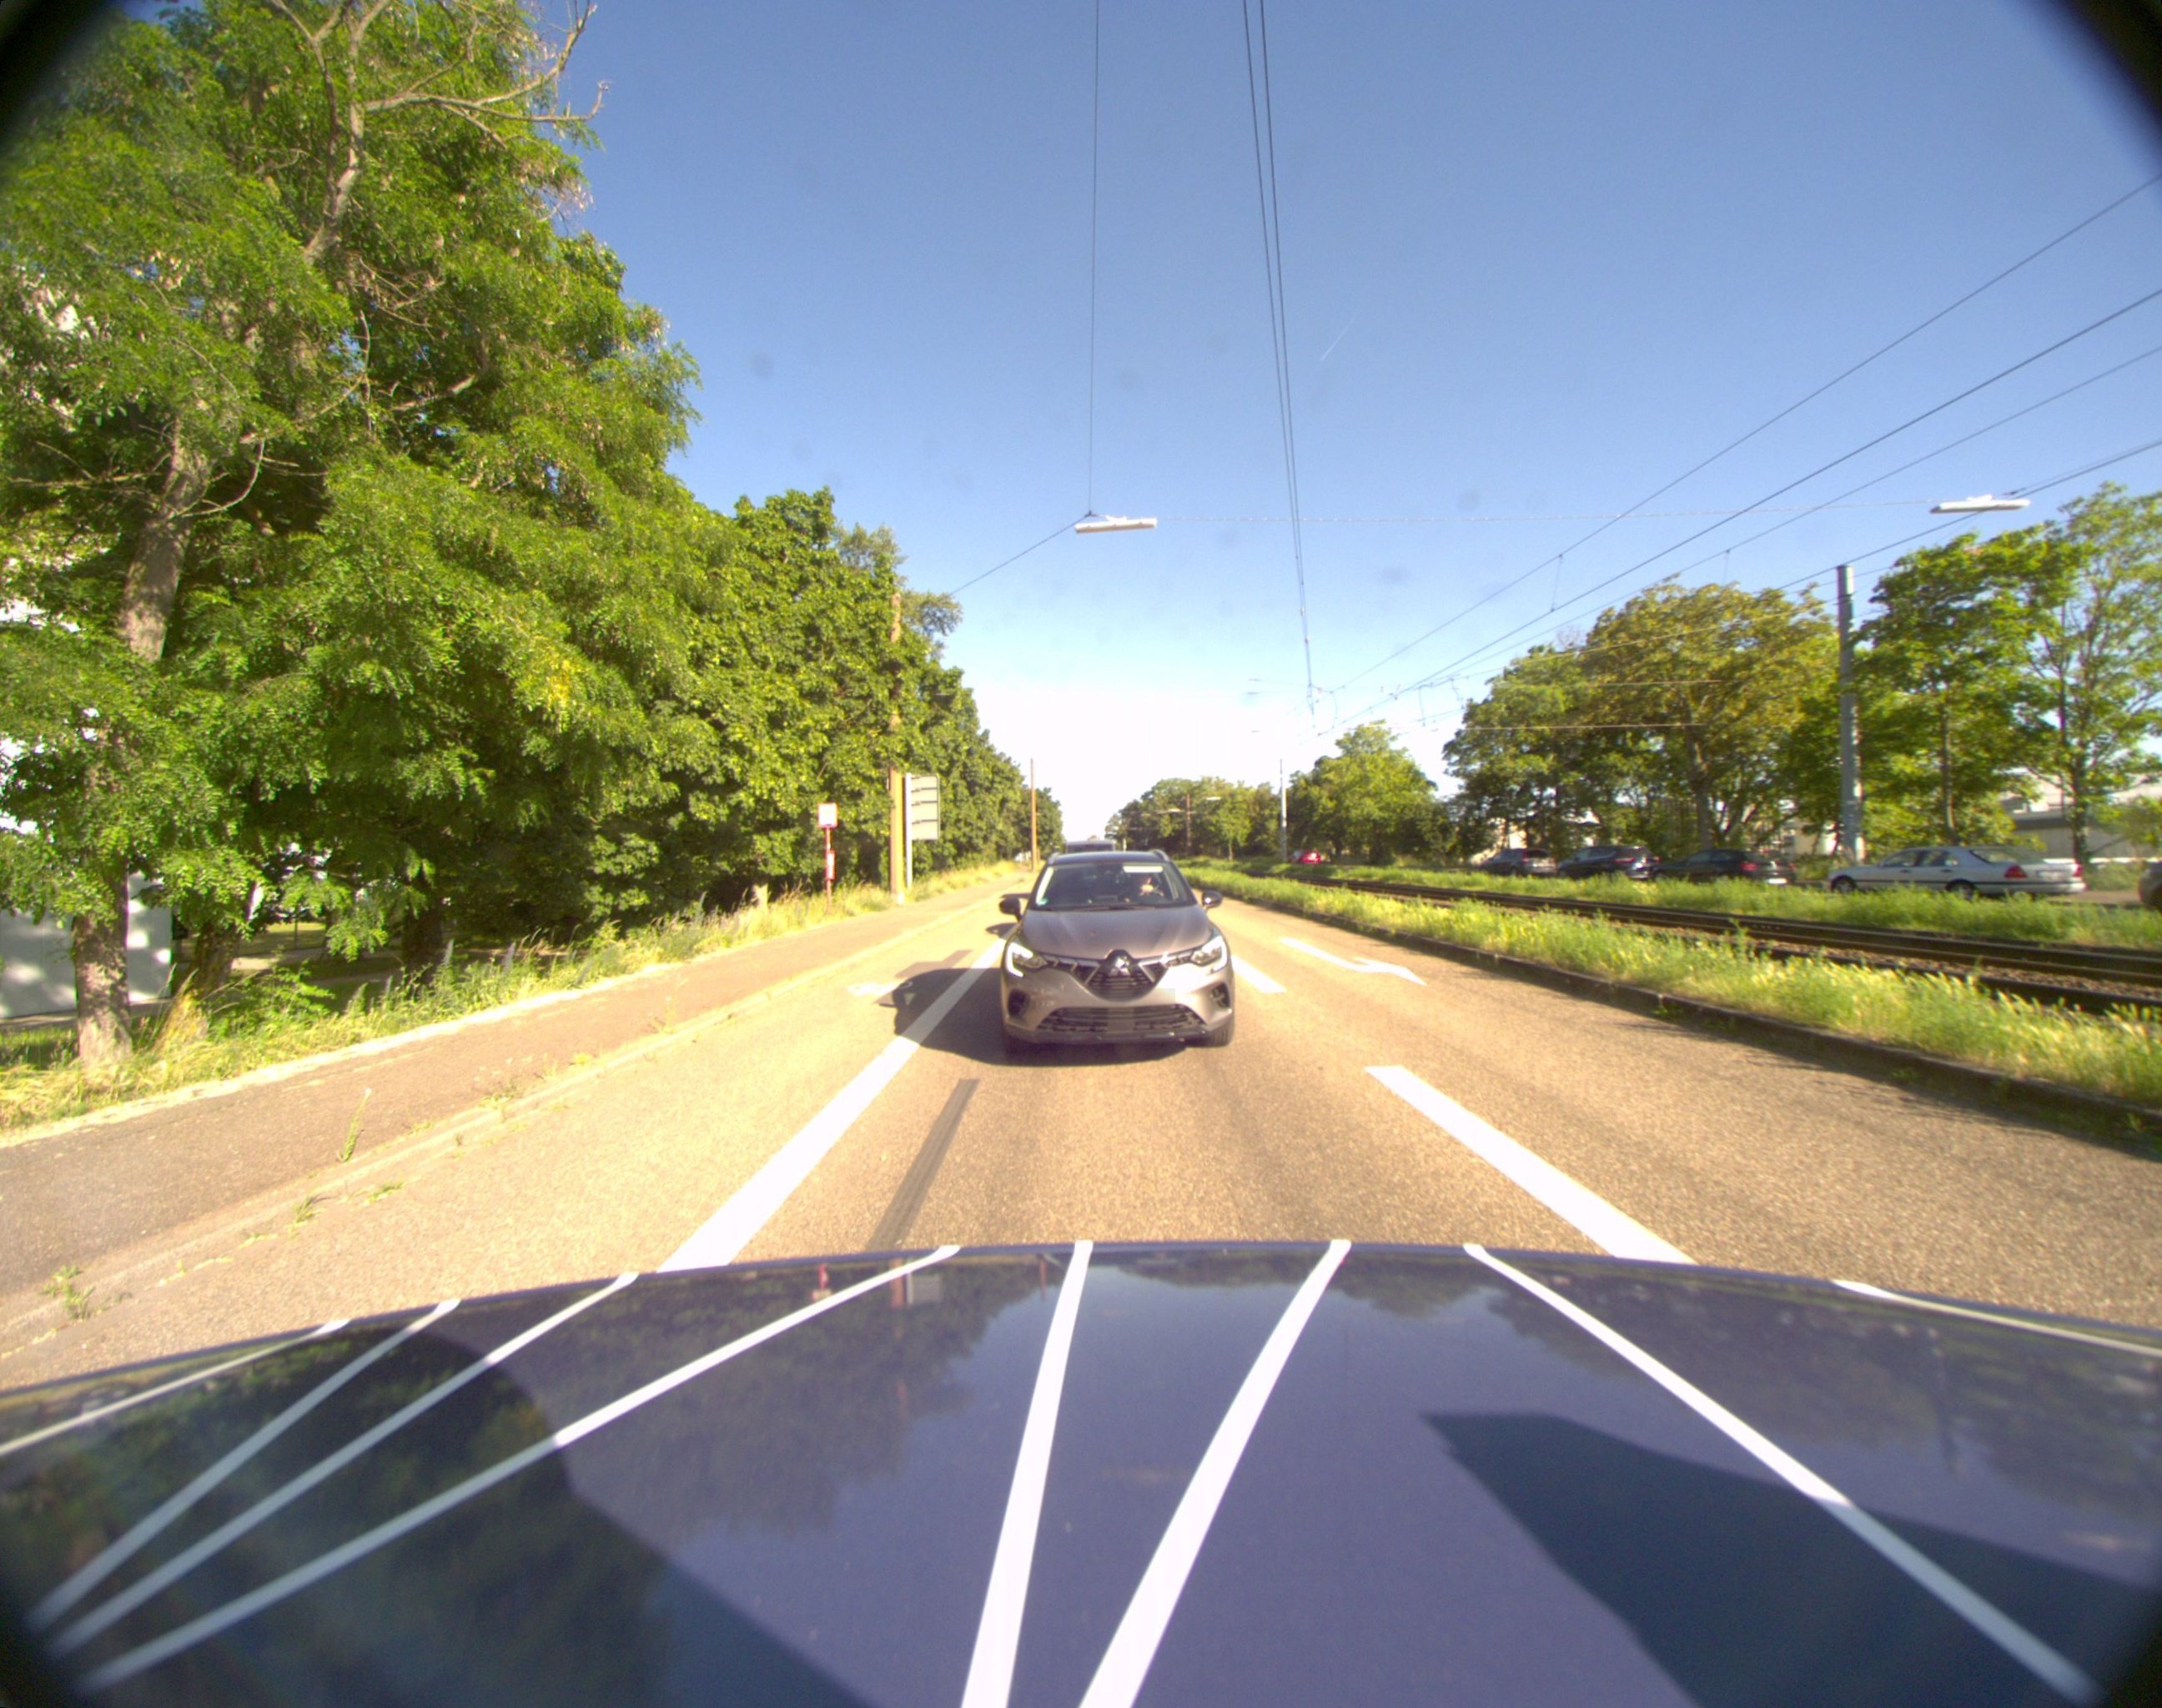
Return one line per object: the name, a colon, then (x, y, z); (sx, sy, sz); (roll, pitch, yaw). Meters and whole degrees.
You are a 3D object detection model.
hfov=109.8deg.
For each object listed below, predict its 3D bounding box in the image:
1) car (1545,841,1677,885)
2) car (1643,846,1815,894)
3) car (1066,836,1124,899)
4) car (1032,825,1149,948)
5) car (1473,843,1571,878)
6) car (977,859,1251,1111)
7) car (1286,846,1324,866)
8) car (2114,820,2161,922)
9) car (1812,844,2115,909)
car: (21.310, 0.346, 30.834); (2.130, 1.578, 4.616); (-2, 0, 1)
car: (21.348, 0.492, 25.337); (1.960, 1.417, 4.488); (-2, 0, 1)
car: (0.457, 0.519, 29.150); (1.999, 2.198, 4.786); (-1, -1, -1)
car: (0.190, 0.577, 15.325); (1.998, 2.113, 4.000); (-2, 0, 1)
car: (21.569, 0.330, 37.416); (2.130, 1.554, 4.560); (-2, 0, 0)
car: (0.183, 0.884, 7.326); (1.796, 1.583, 4.529); (-1, 0, -1)
car: (21.006, 0.191, 71.475); (2.321, 1.723, 4.798); (-2, 0, 3)
car: (21.247, 0.281, 12.490); (2.207, 1.923, 4.685); (-2, 0, 2)
car: (21.548, 0.508, 18.943); (2.130, 1.372, 4.616); (-2, 0, -1)
